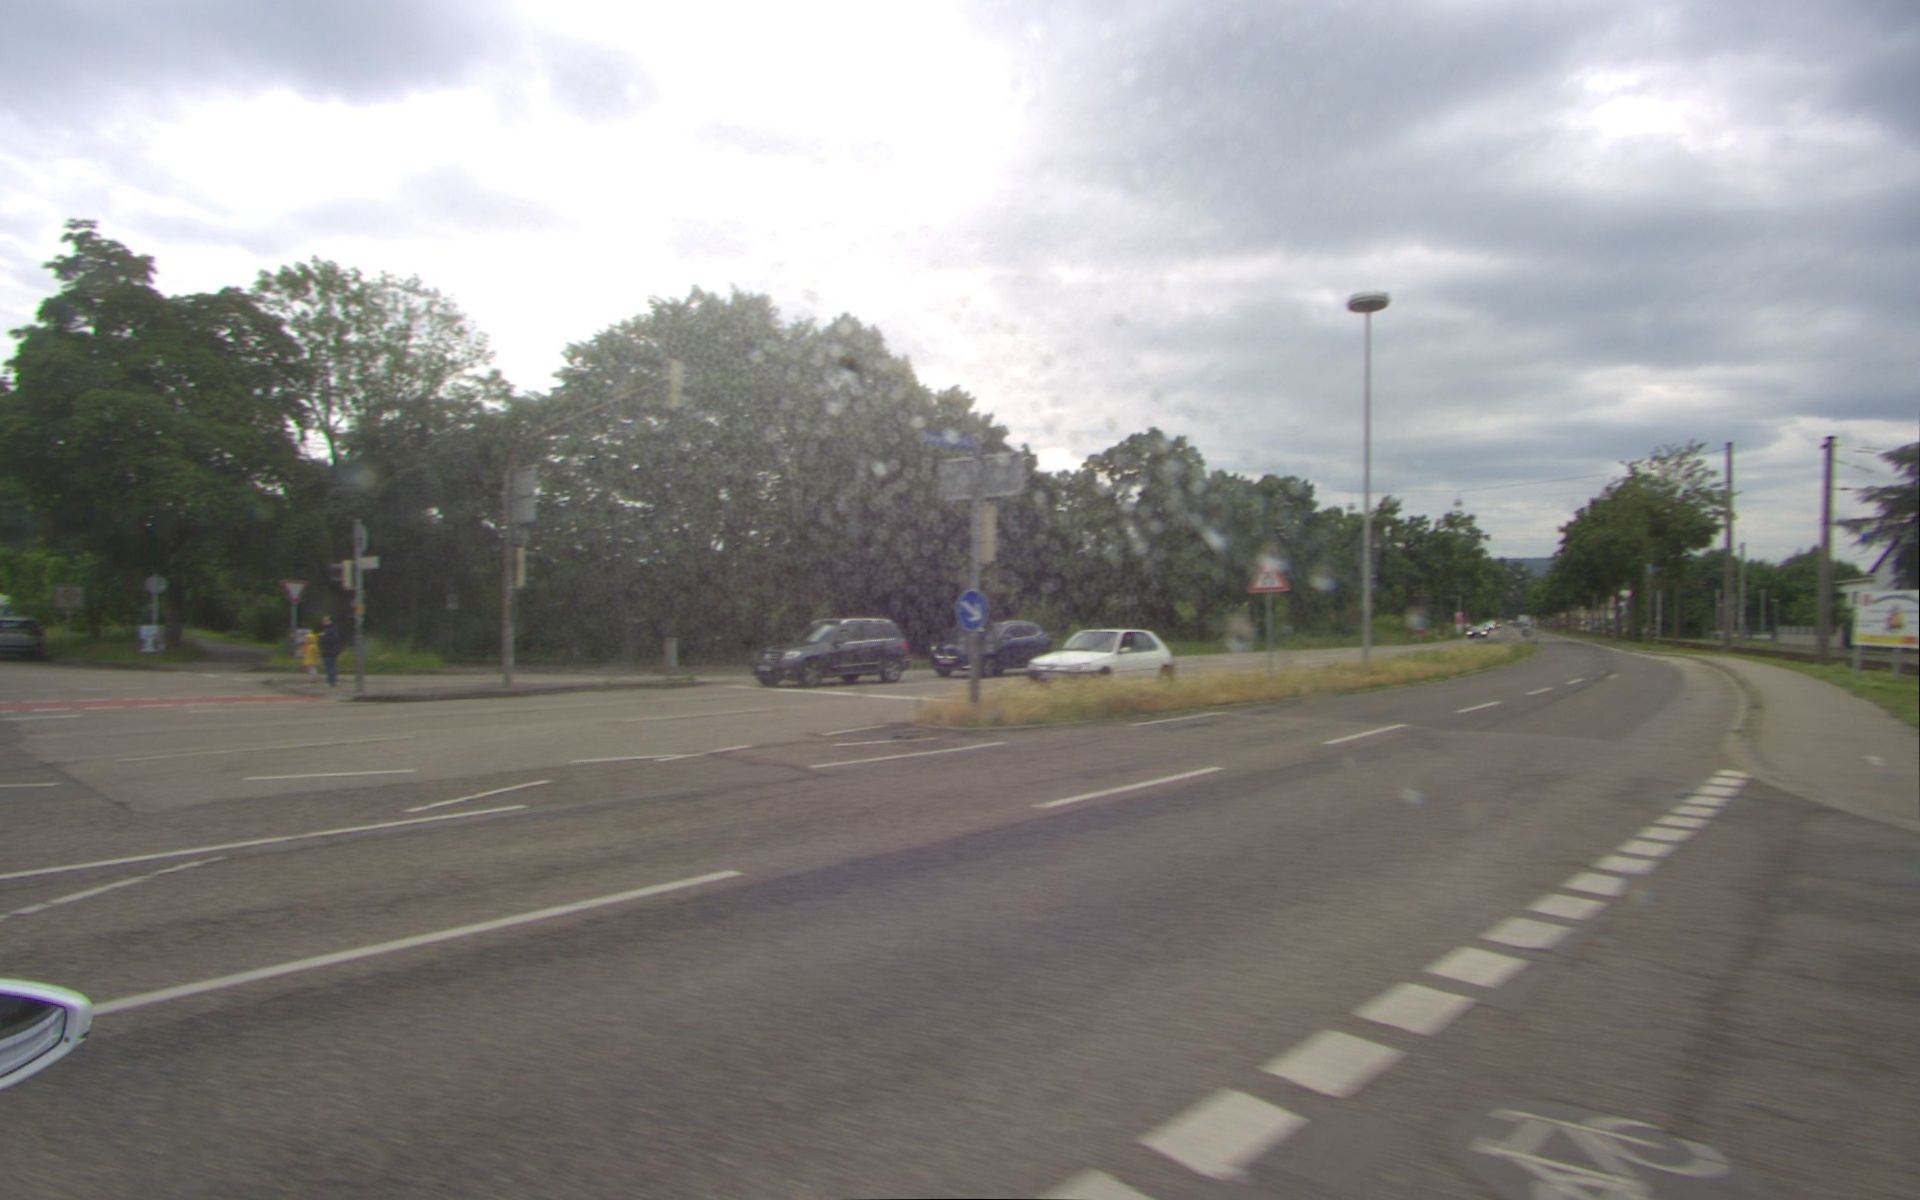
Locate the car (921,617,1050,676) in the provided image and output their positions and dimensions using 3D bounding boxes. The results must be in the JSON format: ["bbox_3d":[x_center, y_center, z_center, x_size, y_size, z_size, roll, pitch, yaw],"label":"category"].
[{"bbox_3d":[0.819,1.335,29.970,1.856,1.639,3.971,0,-1,39],"label":"car"}]

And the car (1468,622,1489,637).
[{"bbox_3d":[56.622,3.232,109.392,1.638,1.550,3.869,0,-1,34],"label":"car"}]

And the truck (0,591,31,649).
[{"bbox_3d":[-46.990,0.965,48.522,6.173,2.691,2.165,-1,-1,40],"label":"truck"}]

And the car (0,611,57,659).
[{"bbox_3d":[-34.956,1.251,37.038,3.952,1.683,1.776,0,-1,40],"label":"car"}]

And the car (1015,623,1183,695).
[{"bbox_3d":[3.083,1.211,21.630,1.628,1.375,4.118,0,-1,41],"label":"car"}]

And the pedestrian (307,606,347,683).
[{"bbox_3d":[-14.740,1.022,23.320,0.453,1.772,0.654,1,0,40],"label":"pedestrian"}]

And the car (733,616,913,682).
[{"bbox_3d":[-3.366,1.193,25.358,1.825,1.523,4.444,0,-1,41],"label":"car"}]

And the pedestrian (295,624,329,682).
[{"bbox_3d":[-15.277,1.240,23.611,0.518,1.359,0.524,1,0,40],"label":"pedestrian"}]
